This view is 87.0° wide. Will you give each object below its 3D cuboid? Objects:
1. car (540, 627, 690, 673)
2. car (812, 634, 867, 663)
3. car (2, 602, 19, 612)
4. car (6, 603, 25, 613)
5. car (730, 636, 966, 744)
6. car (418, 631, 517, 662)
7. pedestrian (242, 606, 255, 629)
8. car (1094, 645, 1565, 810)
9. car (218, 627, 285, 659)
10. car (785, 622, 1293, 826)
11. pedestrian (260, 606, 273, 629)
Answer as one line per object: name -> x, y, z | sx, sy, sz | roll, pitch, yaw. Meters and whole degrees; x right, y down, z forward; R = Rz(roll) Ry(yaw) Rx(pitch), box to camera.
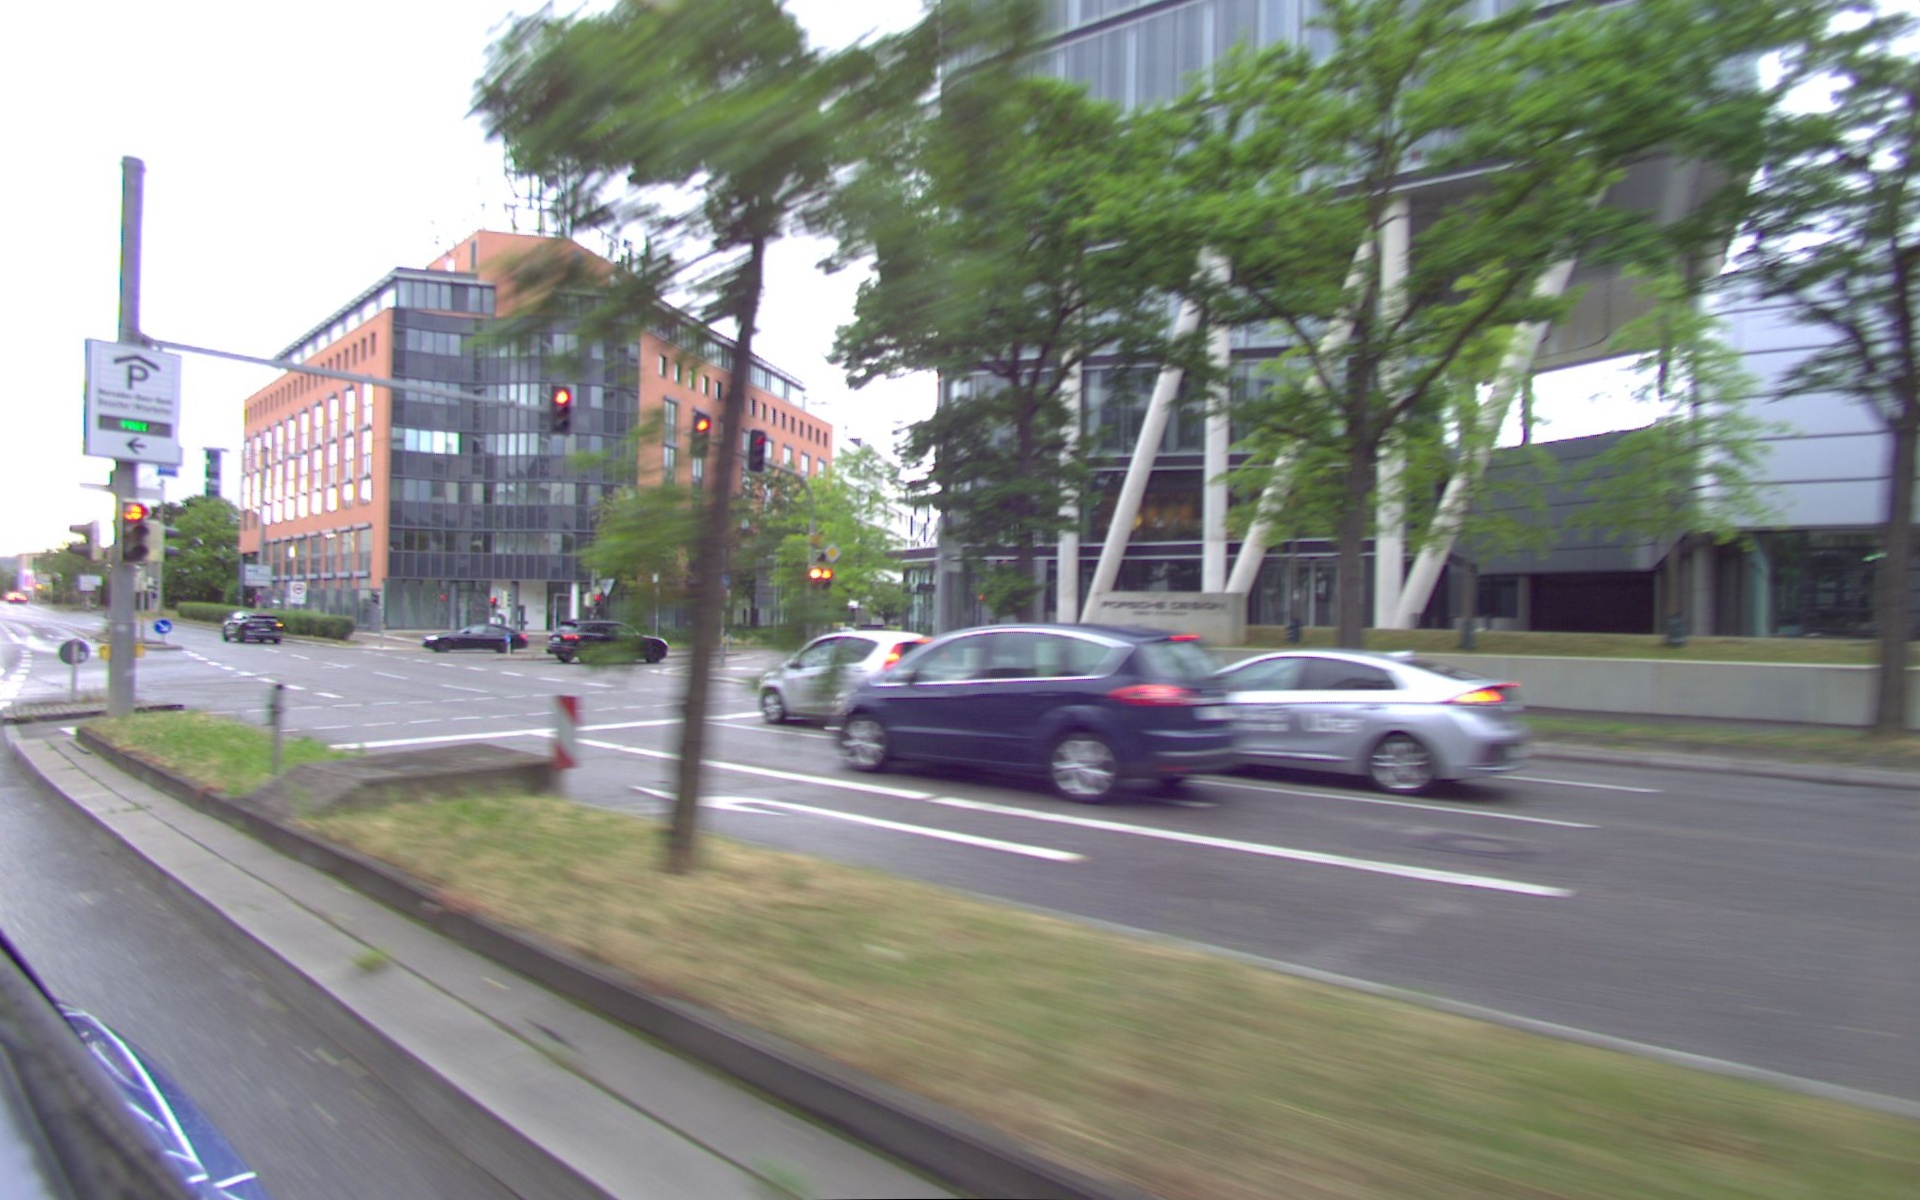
car -> -13.690, 1.942, 40.394 | 2.000, 1.679, 5.348 | 0, -2, 43
car -> -7.198, 2.905, 60.894 | 1.762, 1.608, 4.175 | 1, -2, 16
car -> -154.249, 1.125, 164.409 | 4.000, 1.580, 1.743 | 0, 0, 43
car -> -143.228, 1.211, 153.494 | 3.999, 1.580, 1.743 | 0, -1, 42
car -> -1.906, 1.392, 16.625 | 3.815, 1.532, 1.732 | -1, -3, 41
car -> -23.706, 2.259, 48.726 | 3.936, 1.373, 1.856 | 4, -3, -39
pedestrian -> -58.568, 1.443, 83.336 | 0.886, 1.855, 0.737 | 0, 0, 44
car -> 3.964, 1.268, 11.395 | 4.653, 1.422, 1.795 | -1, -4, 41
car -> -36.755, 2.218, 52.461 | 4.372, 1.522, 1.831 | -1, -4, 42
car -> 0.610, 1.088, 10.605 | 5.116, 1.628, 1.973 | -1, -4, 40
pedestrian -> -57.436, 1.463, 83.817 | 0.886, 1.855, 0.737 | 0, 0, 44
